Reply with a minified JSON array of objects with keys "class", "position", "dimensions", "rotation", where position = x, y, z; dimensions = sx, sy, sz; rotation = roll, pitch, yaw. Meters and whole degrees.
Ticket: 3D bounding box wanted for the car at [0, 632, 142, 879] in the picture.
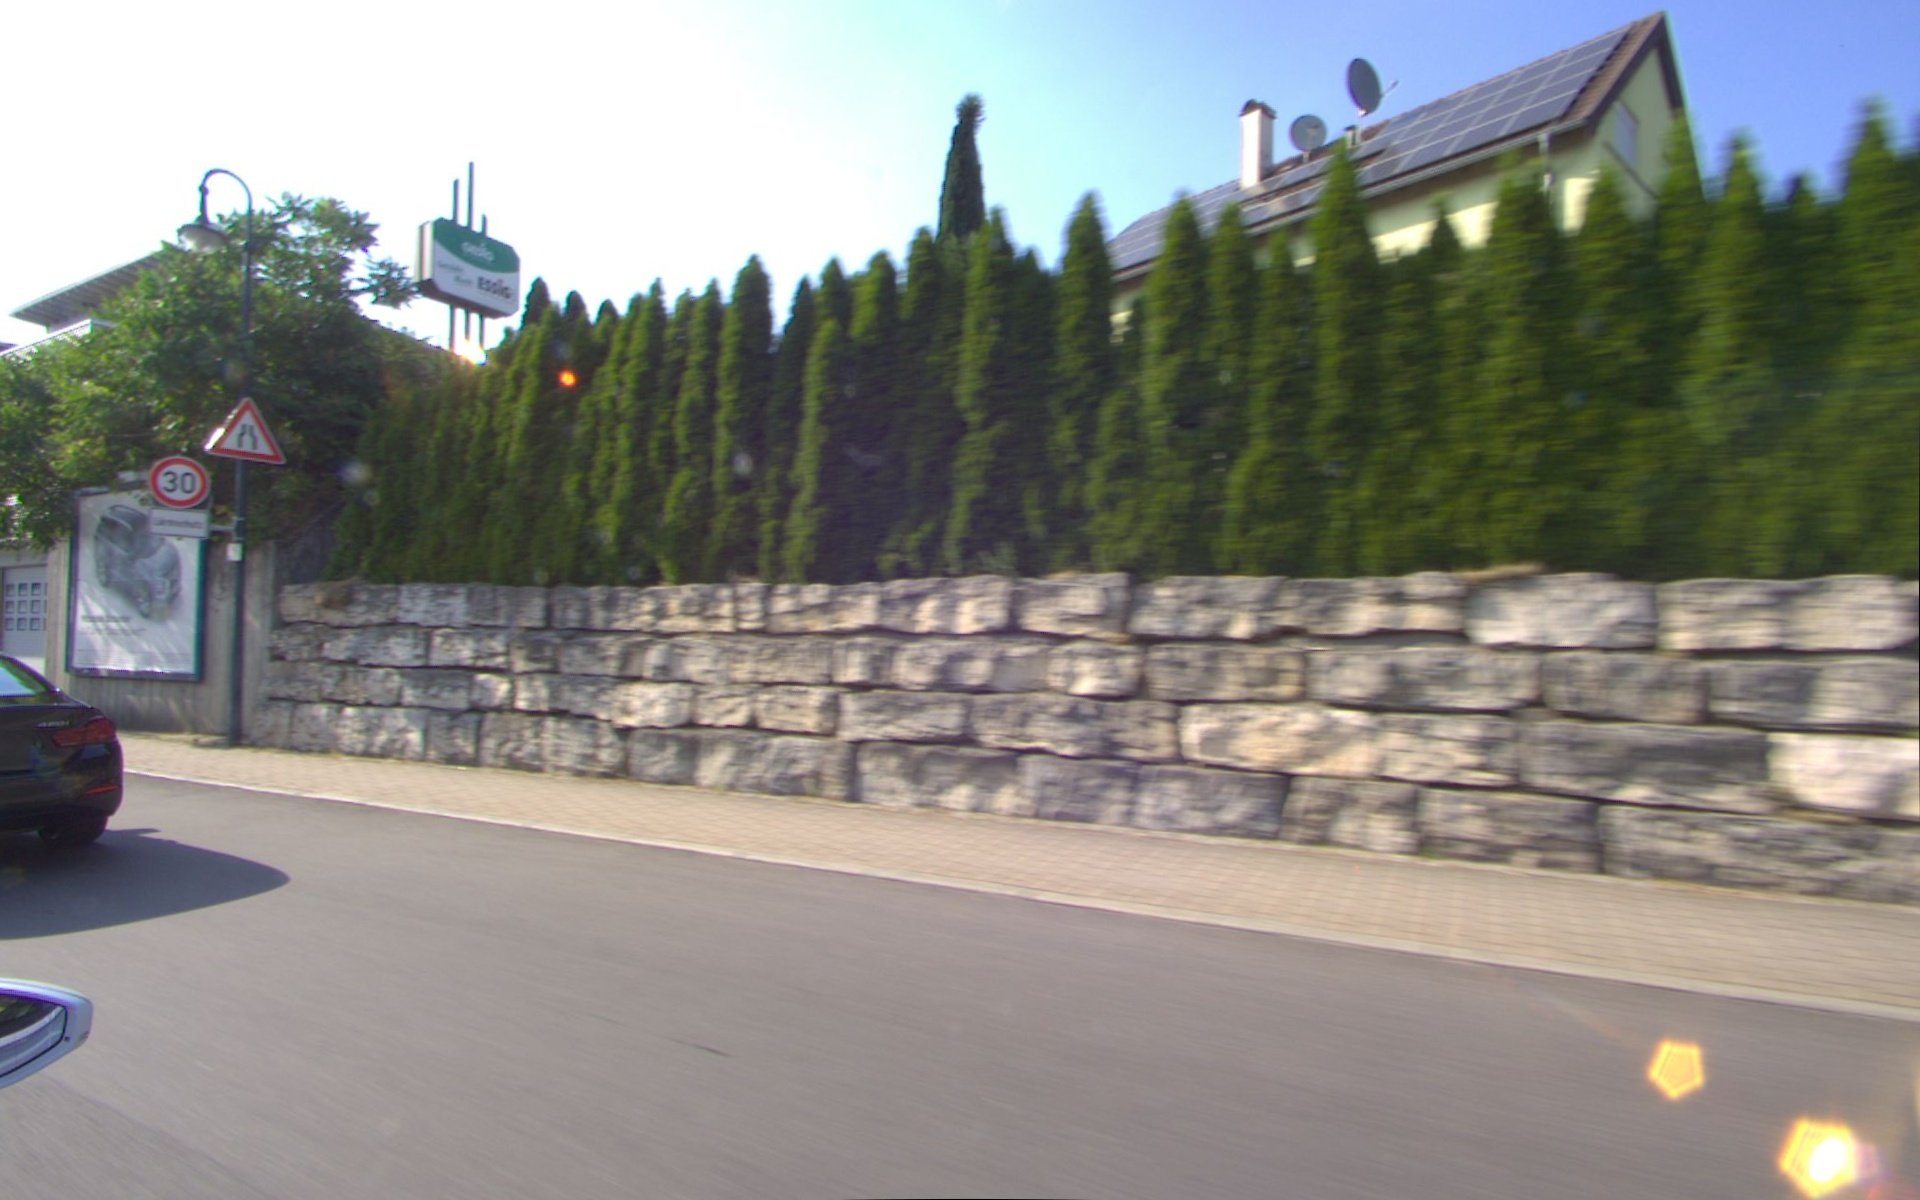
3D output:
[{"class":"car","position":[-7.432,0.909,6.626],"dimensions":[4.196,1.386,1.698],"rotation":[0,-1,29]}]
